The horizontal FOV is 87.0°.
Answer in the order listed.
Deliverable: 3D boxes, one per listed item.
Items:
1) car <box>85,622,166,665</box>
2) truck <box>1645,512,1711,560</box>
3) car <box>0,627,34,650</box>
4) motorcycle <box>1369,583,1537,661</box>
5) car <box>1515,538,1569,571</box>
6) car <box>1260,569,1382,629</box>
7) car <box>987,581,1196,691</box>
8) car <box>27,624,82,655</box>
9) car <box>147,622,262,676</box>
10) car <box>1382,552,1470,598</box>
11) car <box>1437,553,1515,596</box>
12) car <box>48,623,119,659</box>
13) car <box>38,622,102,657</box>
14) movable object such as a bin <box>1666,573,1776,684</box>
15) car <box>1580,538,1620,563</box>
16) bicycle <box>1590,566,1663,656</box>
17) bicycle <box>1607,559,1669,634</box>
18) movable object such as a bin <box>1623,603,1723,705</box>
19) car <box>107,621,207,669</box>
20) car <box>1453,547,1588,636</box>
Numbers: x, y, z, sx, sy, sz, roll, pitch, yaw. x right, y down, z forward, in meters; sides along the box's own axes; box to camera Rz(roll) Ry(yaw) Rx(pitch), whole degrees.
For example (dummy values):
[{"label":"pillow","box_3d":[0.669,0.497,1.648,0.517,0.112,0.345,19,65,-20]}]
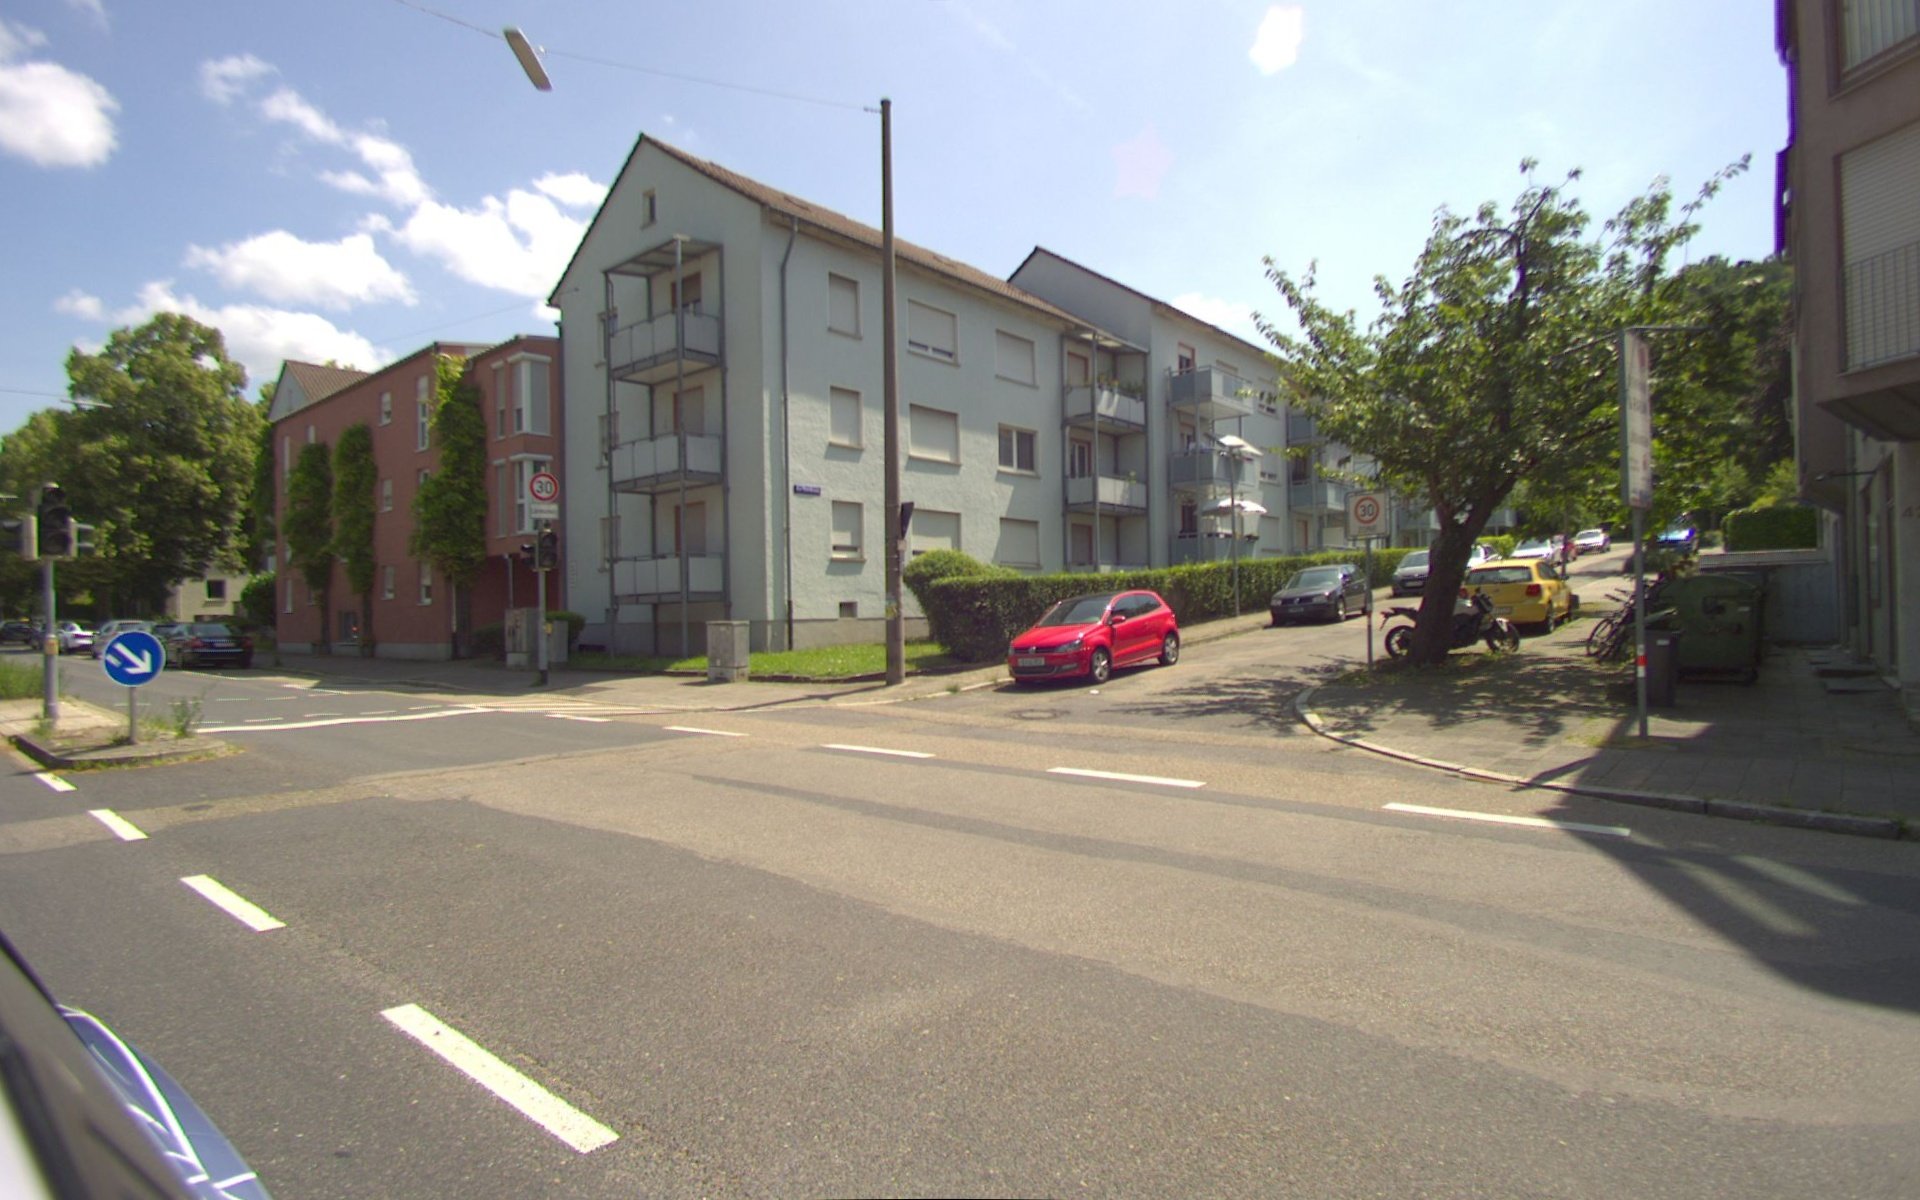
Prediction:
[{"label":"car","box_3d":[-32.859,1.682,39.800,3.997,1.519,1.730,-1,0,40]},{"label":"truck","box_3d":[34.664,-3.136,48.788,2.104,2.050,5.372,-1,3,40]},{"label":"car","box_3d":[-60.263,2.408,64.222,3.605,1.343,1.735,-1,0,40]},{"label":"motorcycle","box_3d":[8.189,0.367,16.964,2.372,1.042,0.923,-6,1,22]},{"label":"car","box_3d":[27.568,-2.167,47.905,1.558,1.239,3.742,-6,0,39]},{"label":"car","box_3d":[9.355,-0.059,26.096,1.731,1.160,3.742,-6,0,39]},{"label":"car","box_3d":[2.399,0.566,17.696,1.731,1.462,3.949,-3,2,39]},{"label":"car","box_3d":[-46.835,2.017,52.326,3.997,1.519,1.552,-1,0,40]},{"label":"car","box_3d":[-23.642,1.475,31.631,4.564,1.551,1.867,-1,-1,40]},{"label":"car","box_3d":[15.728,-0.860,34.048,1.731,1.239,3.742,-6,0,39]},{"label":"car","box_3d":[19.102,-0.960,37.398,1.731,1.239,3.742,-6,0,39]},{"label":"car","box_3d":[-38.367,1.770,44.263,3.997,1.453,1.730,-1,0,40]},{"label":"car","box_3d":[-42.997,1.878,48.871,3.997,1.519,1.730,-1,0,40]},{"label":"movable object such as a bin","box_3d":[10.038,0.345,13.401,1.084,1.377,1.262,-1,0,36]},{"label":"car","box_3d":[39.020,-3.027,61.653,1.558,1.239,3.742,-6,0,39]},{"label":"bicycle","box_3d":[9.993,0.164,15.132,0.756,1.244,2.236,-1,-1,37]},{"label":"bicycle","box_3d":[12.031,-0.046,17.924,0.756,1.244,2.235,-1,-1,37]},{"label":"movable object such as a bin","box_3d":[8.003,0.592,11.386,0.624,1.105,0.673,-1,-1,1]},{"label":"car","box_3d":[-28.437,1.546,35.804,4.564,1.551,1.867,-1,-1,40]},{"label":"car","box_3d":[11.680,-0.212,20.979,1.654,1.424,3.742,-5,1,40]}]
